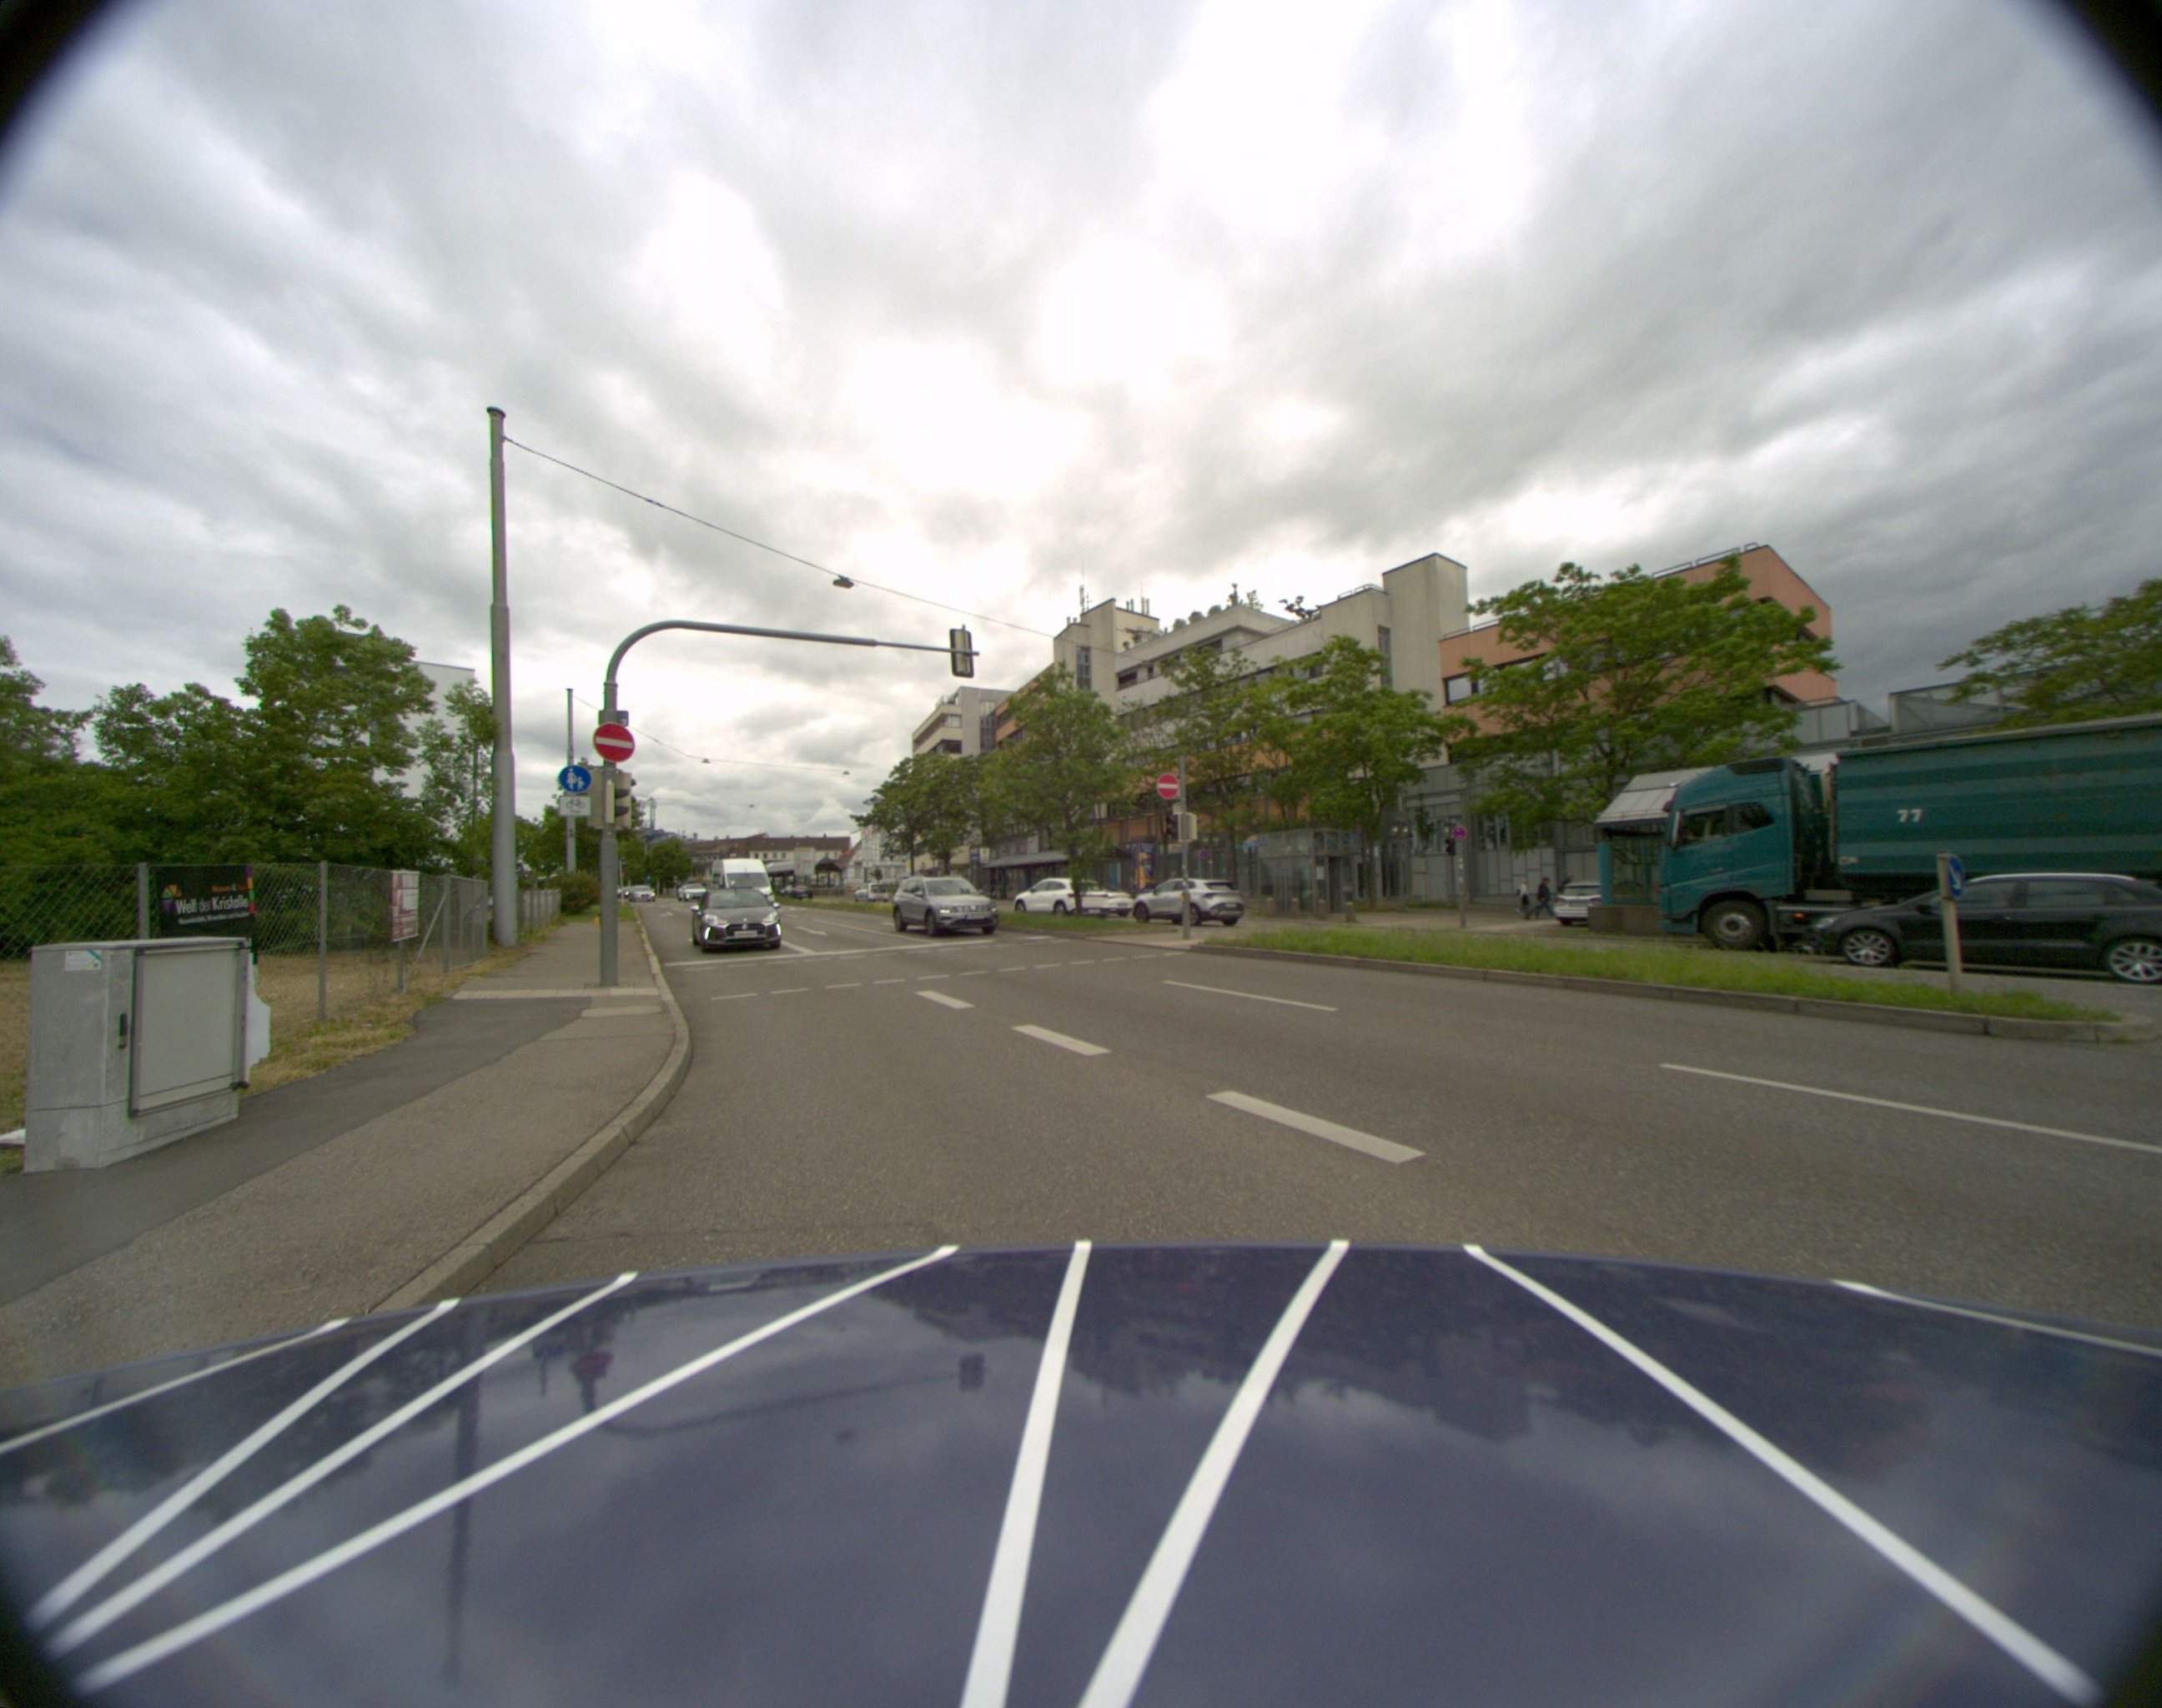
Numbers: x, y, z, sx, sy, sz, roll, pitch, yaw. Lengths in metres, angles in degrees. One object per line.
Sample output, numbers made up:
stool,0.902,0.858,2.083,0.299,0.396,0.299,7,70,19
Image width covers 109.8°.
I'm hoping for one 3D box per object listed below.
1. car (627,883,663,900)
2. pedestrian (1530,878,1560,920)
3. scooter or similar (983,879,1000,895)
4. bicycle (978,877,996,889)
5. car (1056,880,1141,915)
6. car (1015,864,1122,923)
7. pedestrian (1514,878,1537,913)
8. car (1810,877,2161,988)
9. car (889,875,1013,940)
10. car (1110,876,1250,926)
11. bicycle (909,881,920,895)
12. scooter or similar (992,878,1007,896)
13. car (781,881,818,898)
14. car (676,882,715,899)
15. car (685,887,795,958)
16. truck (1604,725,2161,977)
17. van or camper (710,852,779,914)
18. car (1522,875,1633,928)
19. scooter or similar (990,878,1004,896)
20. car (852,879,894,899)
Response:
car,-39.407,3.372,68.687,2.004,1.368,3.989,1,-2,-43
pedestrian,16.761,1.621,27.449,0.868,1.449,0.604,-2,0,31
scooter or similar,-7.061,2.601,60.087,1.328,1.262,0.338,-2,0,-38
bicycle,-10.334,3.190,83.484,1.975,1.311,0.705,0,-1,-15
car,0.759,2.006,36.242,1.741,1.564,4.496,1,-2,-35
car,-0.555,1.411,27.905,2.004,2.001,4.169,1,-2,-33
pedestrian,17.901,1.665,30.585,0.603,1.388,0.537,0,1,-11
car,13.764,1.074,11.248,1.807,1.408,3.990,3,-3,-35
car,-3.884,1.492,22.075,2.003,1.640,4.384,-1,-2,-32
car,3.369,1.600,26.927,1.775,1.575,5.255,2,-2,-36
bicycle,-14.801,3.003,67.550,0.626,1.246,1.684,-1,-1,2
scooter or similar,-6.384,2.568,59.473,1.208,1.414,0.259,0,-1,-38
car,-24.385,3.050,65.711,1.823,1.389,4.999,2,-3,-35
car,-33.407,3.164,65.821,2.004,1.368,3.989,0,-2,-42
car,-8.482,1.609,18.690,1.868,1.515,3.991,1,-3,-33
truck,16.373,-0.022,13.406,3.385,3.705,11.253,-1,-1,-34
van or camper,-16.097,1.418,36.134,2.285,2.689,6.981,0,-3,-30
car,16.084,1.509,24.531,4.008,1.345,1.995,-2,-3,-43
scooter or similar,-6.594,2.564,59.650,1.208,1.376,0.221,0,-1,-38
car,-16.696,2.769,60.989,1.757,1.508,3.989,0,-2,-40
